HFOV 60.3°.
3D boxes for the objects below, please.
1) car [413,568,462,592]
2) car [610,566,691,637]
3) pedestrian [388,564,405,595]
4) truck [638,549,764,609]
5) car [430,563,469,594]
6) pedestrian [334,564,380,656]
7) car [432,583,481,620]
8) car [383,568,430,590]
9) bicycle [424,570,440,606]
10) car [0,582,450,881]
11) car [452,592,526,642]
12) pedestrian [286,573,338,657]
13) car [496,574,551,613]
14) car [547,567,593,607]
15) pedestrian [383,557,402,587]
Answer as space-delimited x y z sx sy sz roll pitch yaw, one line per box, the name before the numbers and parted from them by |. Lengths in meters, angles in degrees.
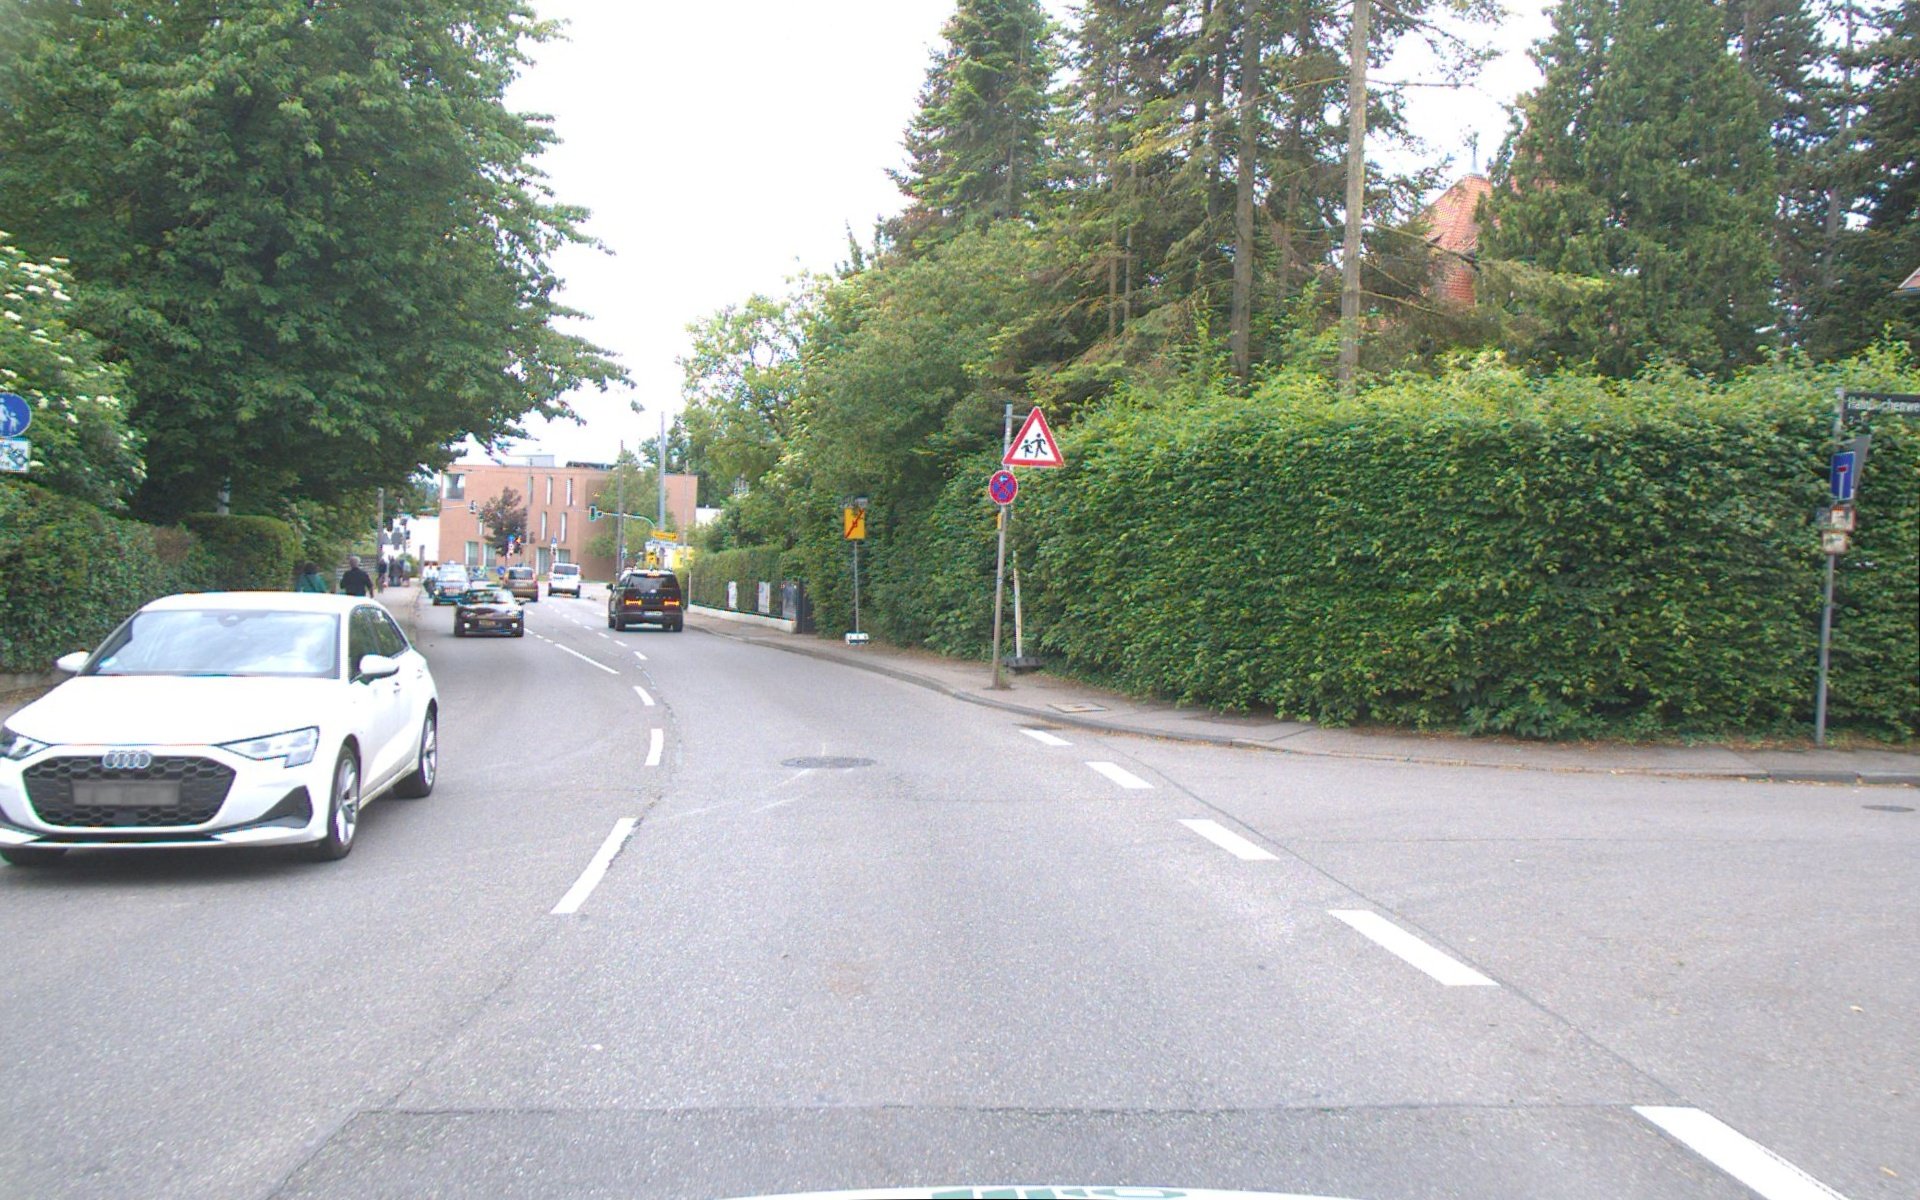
car | -49.505 -1.882 156.753 1.967 2.048 3.971 3 1 45
car | -9.038 0.017 48.051 1.961 1.914 3.984 2 0 -16
pedestrian | -34.863 -1.270 102.369 0.604 1.869 0.747 2 0 44
truck | -22.538 -1.779 144.887 3.077 4.817 11.736 3 1 39
car | -29.107 -1.231 94.160 1.806 1.659 4.255 0 1 -22
pedestrian | -11.304 0.187 31.016 0.622 1.691 0.910 2 -1 -30
car | -21.302 0.056 69.896 1.696 1.497 3.507 0 1 -22
car | -54.575 -2.103 163.147 3.970 2.048 1.968 1 1 -45
bicycle | -26.611 -0.627 83.374 0.747 1.775 1.862 0 1 -17
car | -4.415 0.644 10.287 1.774 1.468 4.189 0 0 -9
car | -11.971 0.409 42.206 1.662 1.197 3.773 0 1 -14
pedestrian | -11.967 0.271 30.534 0.662 1.474 0.750 6 -2 -30
car | -20.813 -0.313 79.063 1.856 1.735 3.996 2 0 -5
car | -22.973 -0.800 97.523 1.925 2.048 4.423 5 1 -6
pedestrian | -35.101 -1.744 102.227 0.810 1.794 0.855 2 0 -39
